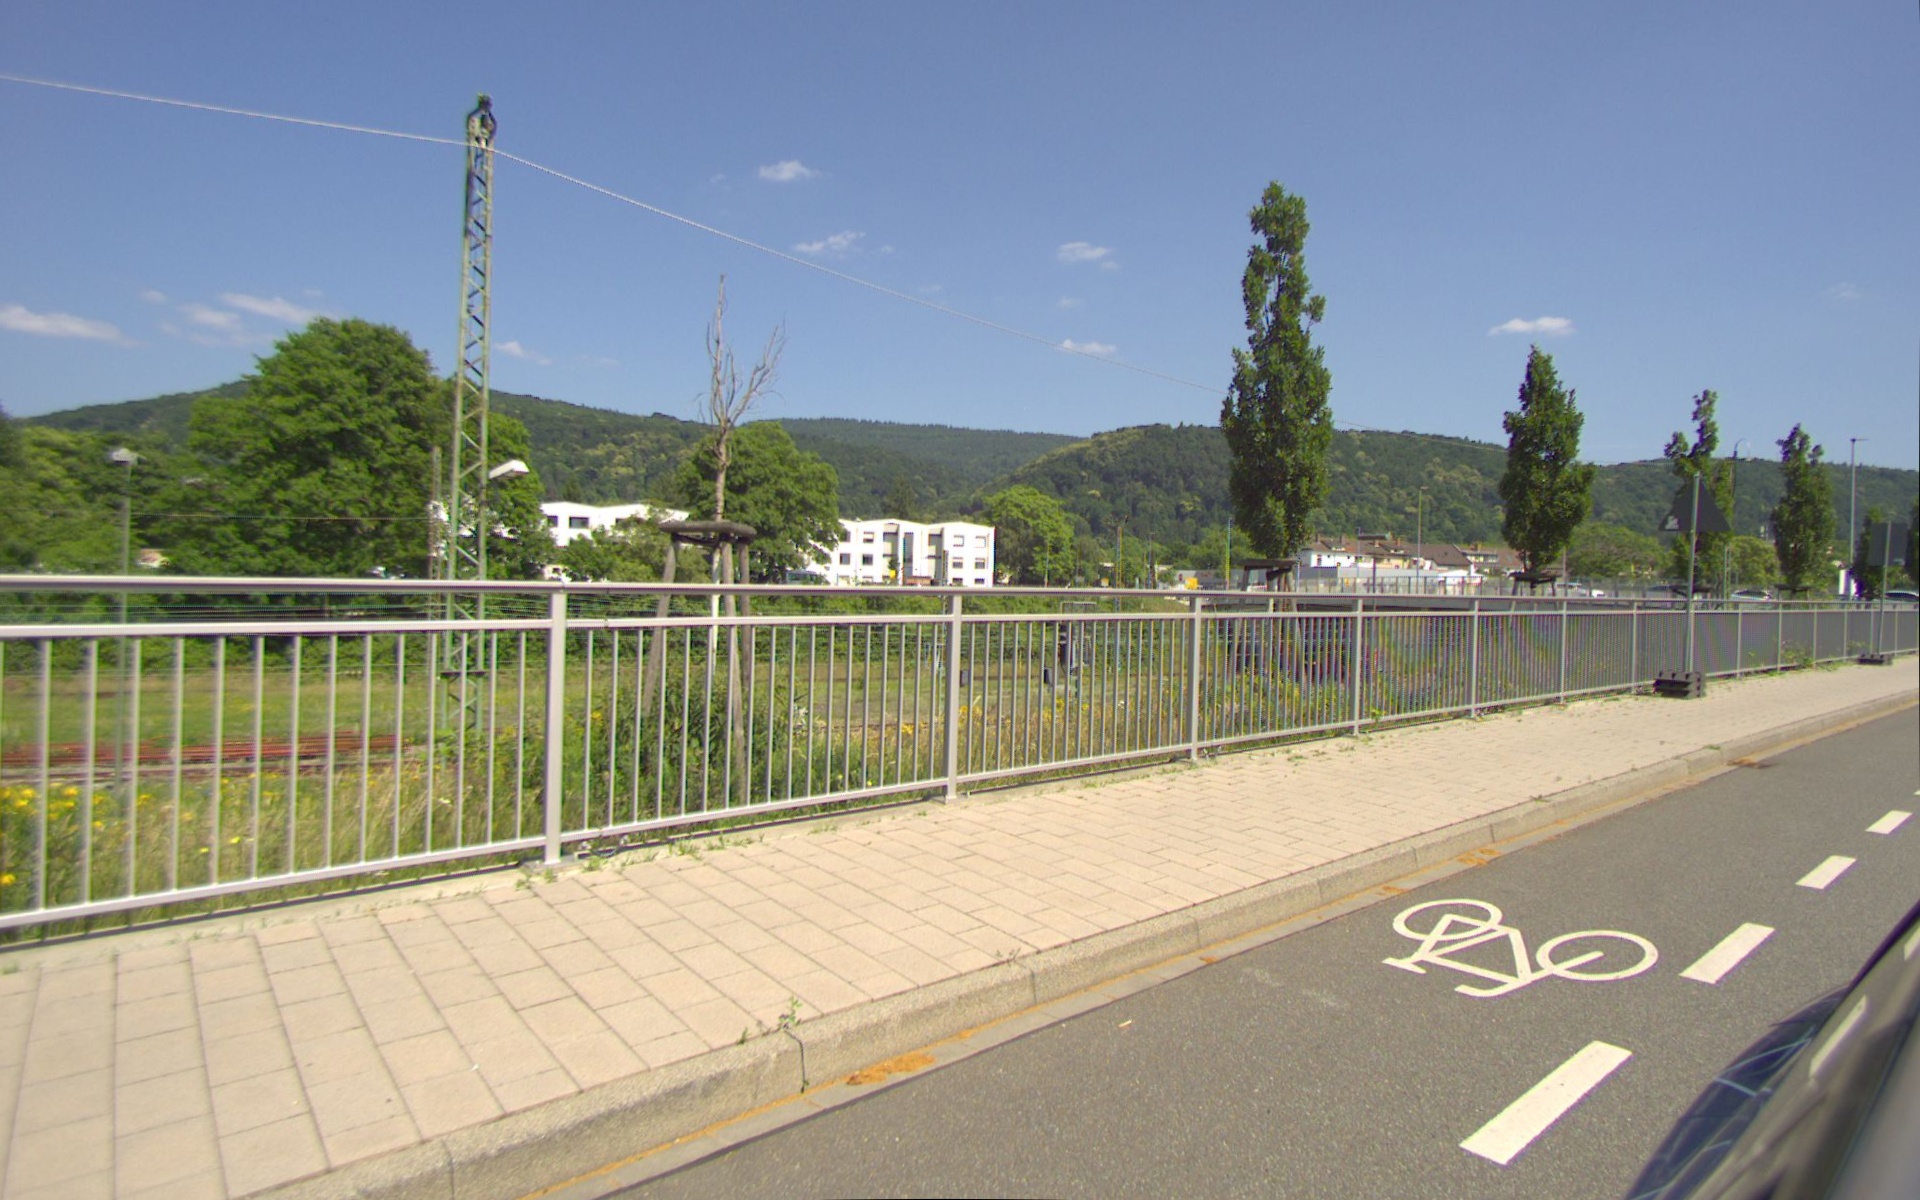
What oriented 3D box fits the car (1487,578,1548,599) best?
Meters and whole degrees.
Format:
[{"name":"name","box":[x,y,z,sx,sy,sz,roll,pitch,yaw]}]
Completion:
[{"name":"car","box":[46.810,-0.992,85.080,1.700,1.647,4.452,1,1,-19]}]

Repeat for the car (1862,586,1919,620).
[{"name":"car","box":[51.199,0.176,53.658,1.958,1.740,4.643,1,1,-16]}]

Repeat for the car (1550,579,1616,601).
[{"name":"car","box":[48.500,-0.820,78.896,1.700,1.646,4.452,-1,1,-14]}]

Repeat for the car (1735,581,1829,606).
[{"name":"car","box":[52.157,-0.429,64.311,1.700,1.488,4.420,-1,1,-19]}]

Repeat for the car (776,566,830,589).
[{"name":"car","box":[-15.588,-2.216,100.712,4.893,2.139,2.002,1,1,-32]}]

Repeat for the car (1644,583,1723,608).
[{"name":"car","box":[50.754,-0.324,71.101,1.700,1.646,4.452,-1,1,-14]}]
